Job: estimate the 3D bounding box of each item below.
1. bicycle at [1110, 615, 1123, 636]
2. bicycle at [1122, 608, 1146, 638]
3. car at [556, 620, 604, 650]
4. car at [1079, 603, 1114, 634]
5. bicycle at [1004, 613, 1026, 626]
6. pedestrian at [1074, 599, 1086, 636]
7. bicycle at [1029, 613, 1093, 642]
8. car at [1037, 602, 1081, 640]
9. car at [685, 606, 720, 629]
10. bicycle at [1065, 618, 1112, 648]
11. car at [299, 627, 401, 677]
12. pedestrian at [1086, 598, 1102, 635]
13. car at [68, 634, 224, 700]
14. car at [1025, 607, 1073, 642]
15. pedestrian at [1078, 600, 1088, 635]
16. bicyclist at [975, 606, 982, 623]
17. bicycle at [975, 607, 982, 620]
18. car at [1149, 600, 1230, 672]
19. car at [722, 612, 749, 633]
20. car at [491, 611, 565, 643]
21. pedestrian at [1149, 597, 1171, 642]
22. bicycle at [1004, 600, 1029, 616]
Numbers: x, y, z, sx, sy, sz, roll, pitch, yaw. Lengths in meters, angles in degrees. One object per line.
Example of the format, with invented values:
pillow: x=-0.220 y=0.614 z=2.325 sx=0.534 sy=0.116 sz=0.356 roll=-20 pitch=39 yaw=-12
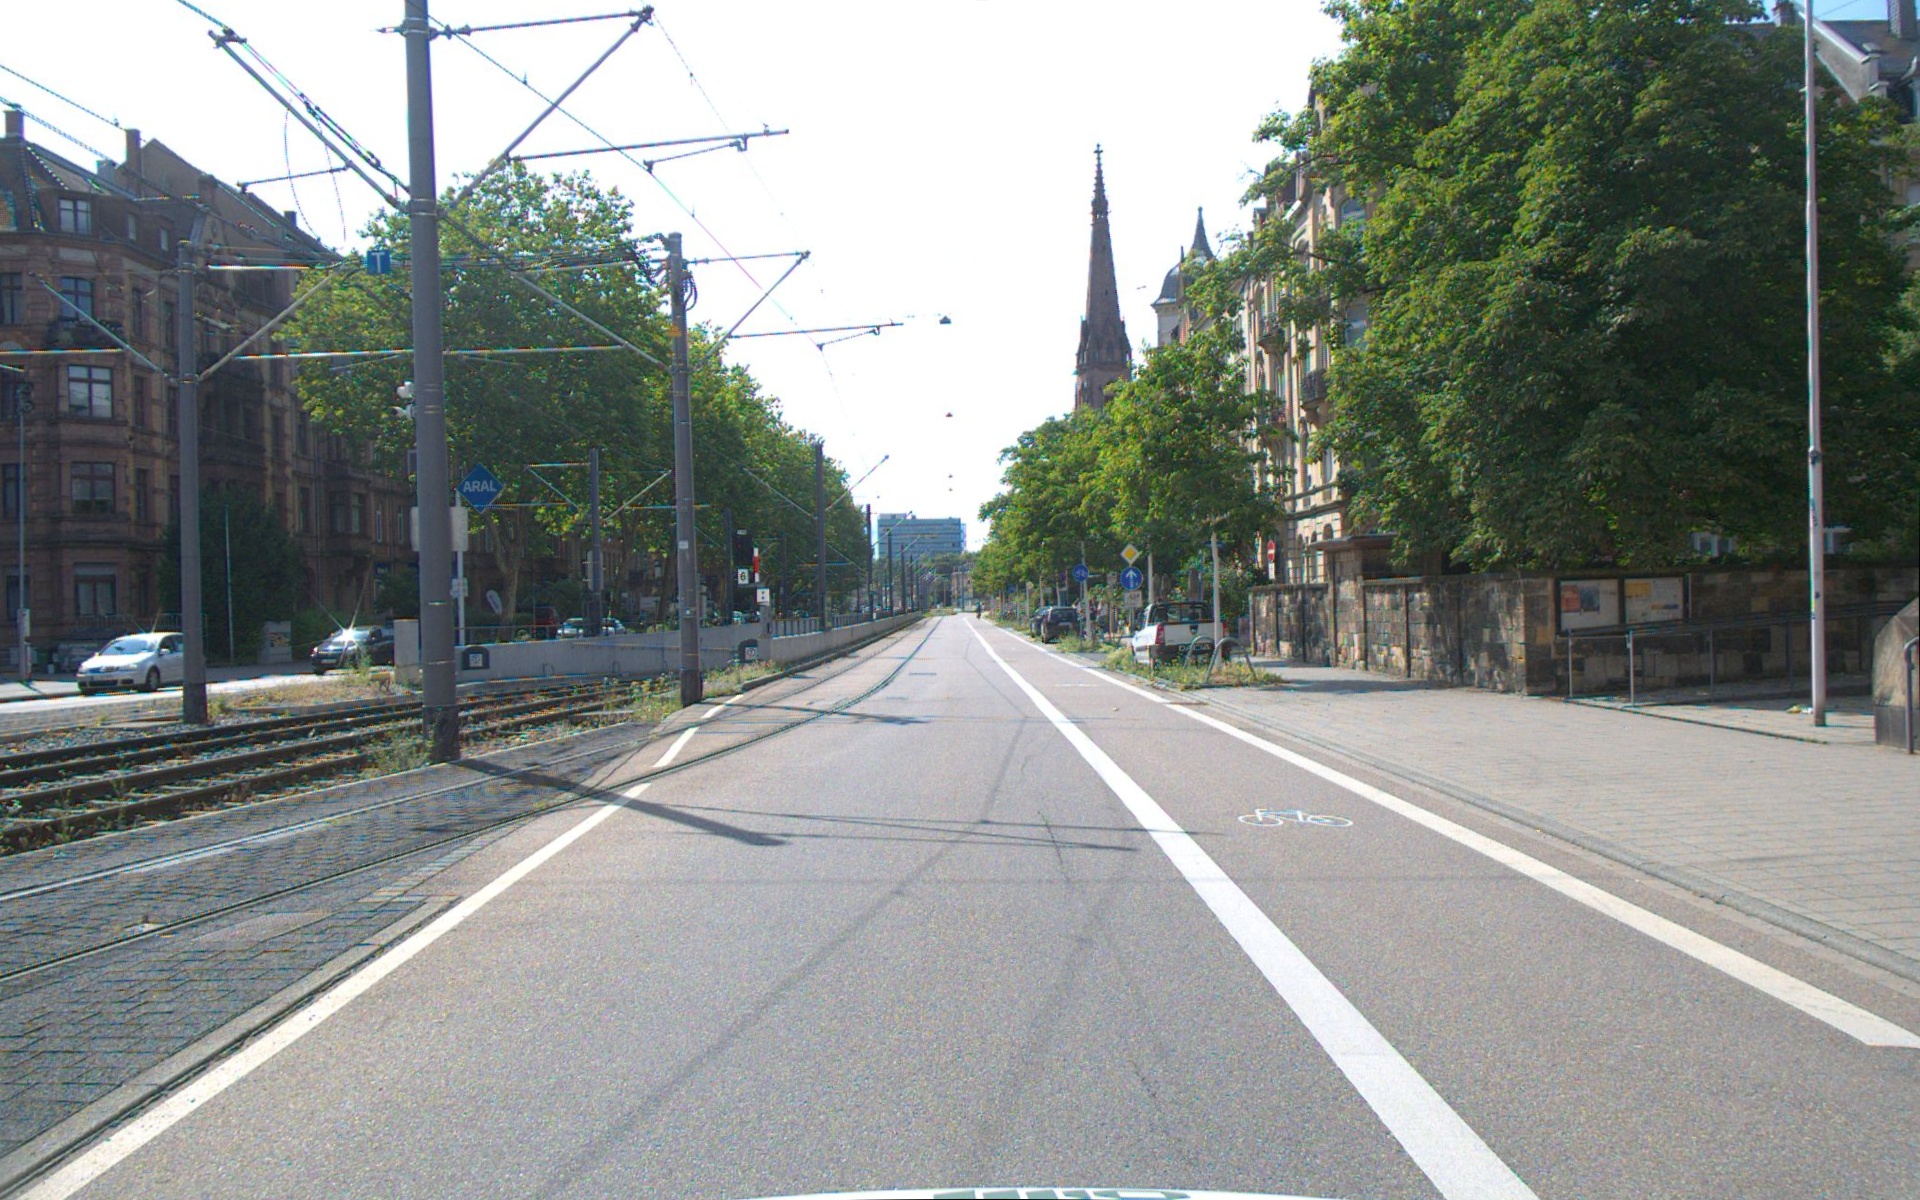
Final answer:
bicycle: x=7.587 y=1.228 z=80.258 sx=0.419 sy=0.956 sz=1.807 roll=-4 pitch=0 yaw=0
bicycle: x=7.687 y=0.998 z=73.130 sx=0.644 sy=1.270 sz=2.942 roll=-4 pitch=0 yaw=0
car: x=-19.543 y=1.786 z=85.173 sx=1.466 sy=1.326 sz=3.492 roll=-4 pitch=0 yaw=2
car: x=6.795 y=0.899 z=82.119 sx=1.633 sy=1.441 sz=3.588 roll=-2 pitch=0 yaw=5
bicycle: x=4.666 y=1.655 z=140.631 sx=1.780 sy=0.918 sz=0.651 roll=-4 pitch=0 yaw=-4
pedestrian: x=6.103 y=0.903 z=84.377 sx=0.450 sy=1.836 sz=0.319 roll=-4 pitch=0 yaw=-2
bicycle: x=4.786 y=1.304 z=78.352 sx=2.896 sy=1.268 sz=0.790 roll=-2 pitch=-1 yaw=-13
car: x=4.275 y=0.880 z=71.852 sx=1.651 sy=1.528 sz=4.708 roll=-2 pitch=0 yaw=0
car: x=-20.562 y=1.402 z=132.061 sx=1.952 sy=1.665 sz=4.001 roll=-4 pitch=0 yaw=2
bicycle: x=4.880 y=1.243 z=62.768 sx=1.673 sy=1.088 sz=0.470 roll=-2 pitch=-1 yaw=-6
car: x=-19.715 y=1.661 z=53.613 sx=1.633 sy=1.441 sz=3.784 roll=-2 pitch=0 yaw=5
pedestrian: x=6.854 y=0.834 z=84.483 sx=0.656 sy=1.836 sz=0.319 roll=-4 pitch=0 yaw=-2
car: x=-20.798 y=1.674 z=42.470 sx=1.686 sy=1.441 sz=4.405 roll=-3 pitch=0 yaw=1
car: x=4.375 y=1.182 z=81.869 sx=1.763 sy=1.553 sz=4.486 roll=-3 pitch=0 yaw=-4
pedestrian: x=6.216 y=0.868 z=83.600 sx=0.311 sy=1.736 sz=0.461 roll=-4 pitch=0 yaw=14
bicyclist: x=1.972 y=1.521 z=174.926 sx=0.755 sy=1.760 sz=1.026 roll=-1 pitch=-1 yaw=0
bicycle: x=1.964 y=1.416 z=174.862 sx=0.782 sy=1.258 sz=2.777 roll=-1 pitch=0 yaw=0
car: x=4.933 y=0.734 z=35.613 sx=1.633 sy=1.441 sz=3.847 roll=0 pitch=0 yaw=8
car: x=-20.393 y=2.003 z=150.245 sx=1.801 sy=1.758 sz=4.000 roll=-4 pitch=0 yaw=0
car: x=-28.080 y=1.761 z=107.622 sx=4.313 sy=1.952 sz=1.999 roll=-1 pitch=0 yaw=-2
pedestrian: x=7.554 y=0.729 z=62.520 sx=0.708 sy=1.657 sz=0.725 roll=-1 pitch=-1 yaw=0
bicycle: x=4.352 y=0.618 z=127.993 sx=1.784 sy=1.165 sz=0.650 roll=-4 pitch=0 yaw=-12
